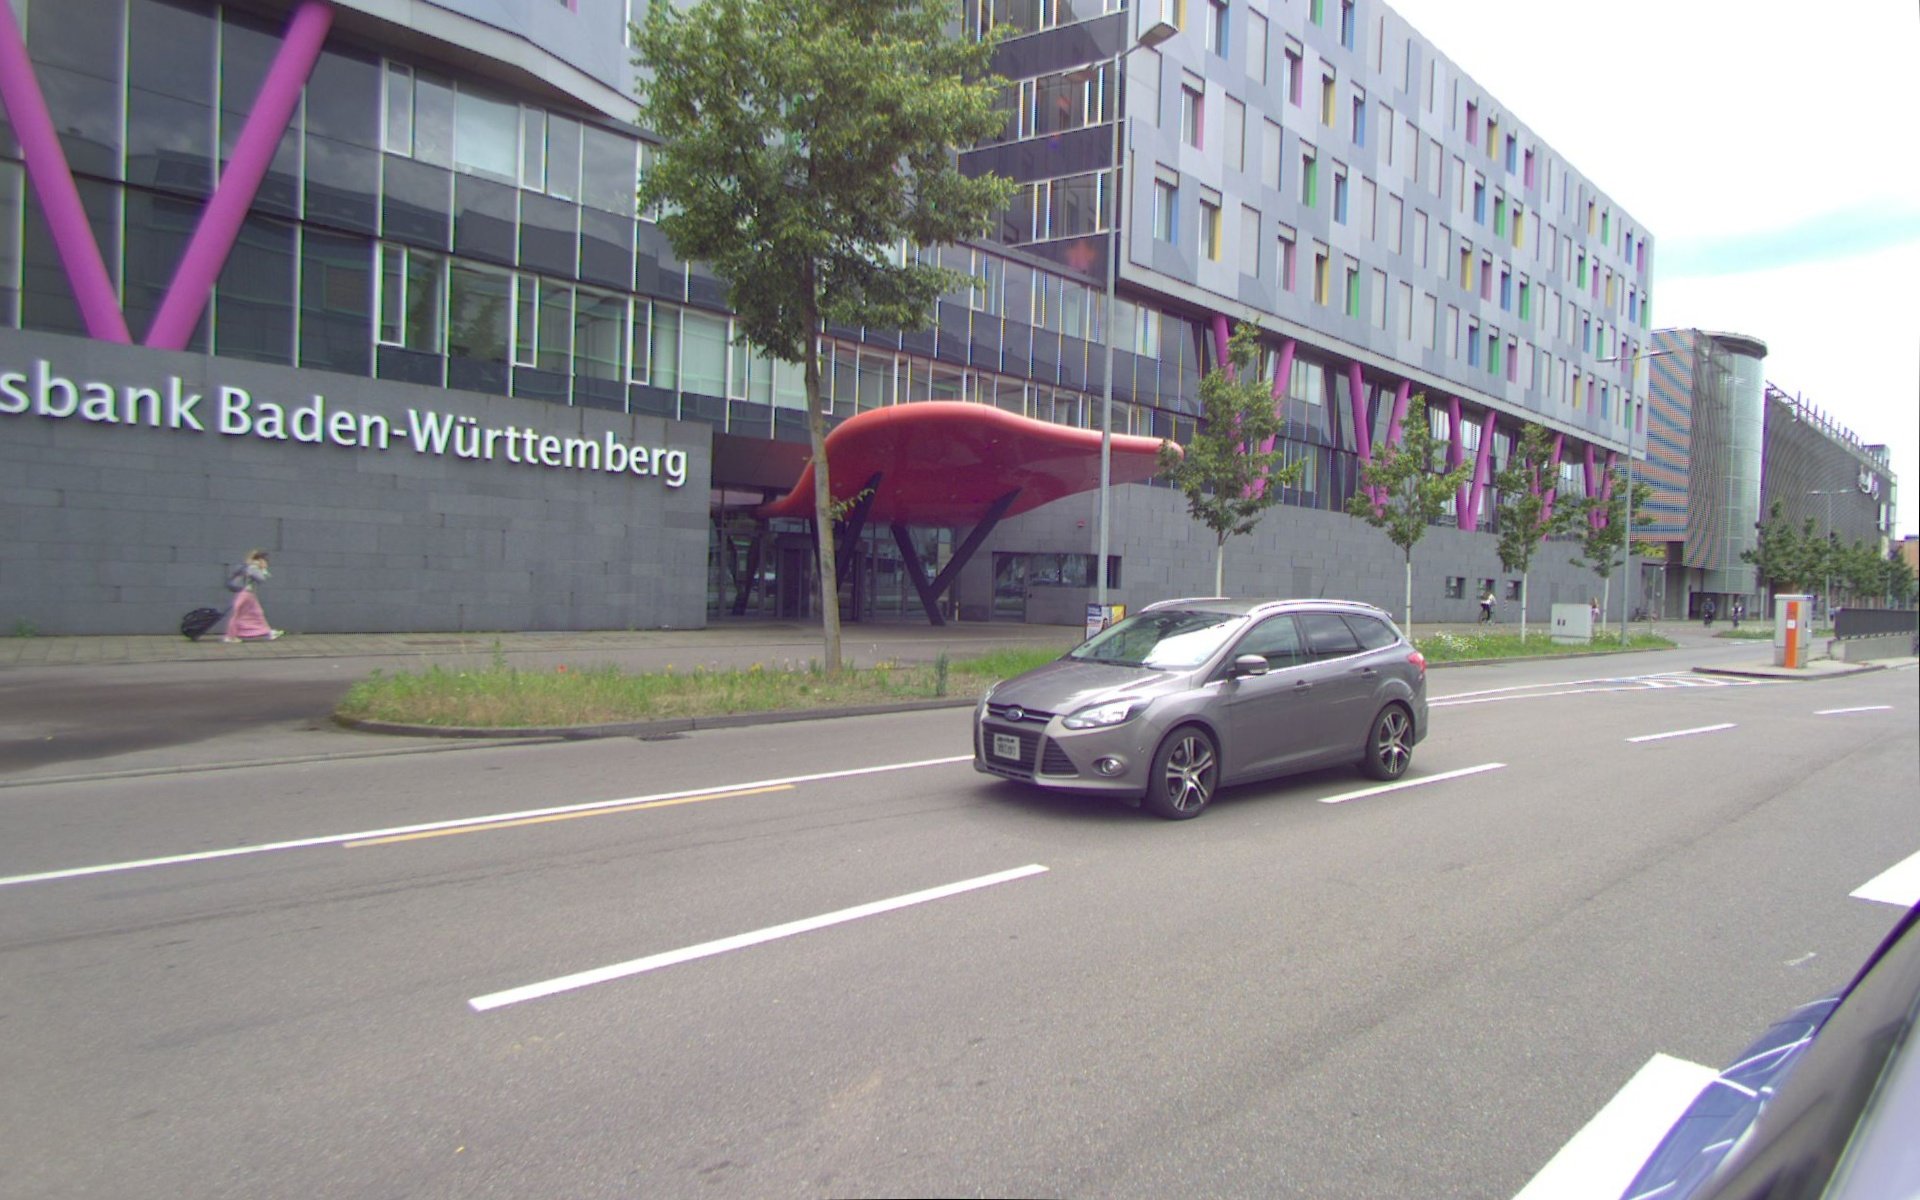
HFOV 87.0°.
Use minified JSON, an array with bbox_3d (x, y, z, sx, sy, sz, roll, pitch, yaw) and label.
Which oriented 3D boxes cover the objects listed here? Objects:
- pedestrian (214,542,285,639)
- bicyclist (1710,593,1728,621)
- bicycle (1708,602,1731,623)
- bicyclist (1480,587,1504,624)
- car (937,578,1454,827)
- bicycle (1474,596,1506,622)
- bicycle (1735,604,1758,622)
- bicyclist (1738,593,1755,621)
[{"bbox_3d":[-12.077,-0.162,17.207,0.898,1.602,0.786,1,1,-40],"label":"pedestrian"},{"bbox_3d":[51.247,0.469,68.320,0.692,1.826,0.783,6,-4,-41],"label":"bicyclist"},{"bbox_3d":[51.393,0.851,68.469,2.303,1.173,0.800,6,-3,-42],"label":"bicycle"},{"bbox_3d":[26.779,0.272,50.930,0.958,1.809,0.771,2,1,-44],"label":"bicyclist"},{"bbox_3d":[2.042,0.662,8.180,4.188,1.518,1.753,2,0,-37],"label":"car"},{"bbox_3d":[26.630,0.460,50.796,0.783,1.209,2.184,2,1,45],"label":"bicycle"},{"bbox_3d":[52.287,0.854,67.270,2.304,1.173,0.800,2,-1,-42],"label":"bicycle"},{"bbox_3d":[52.270,0.472,67.258,0.692,1.825,0.783,2,-1,-41],"label":"bicyclist"}]
